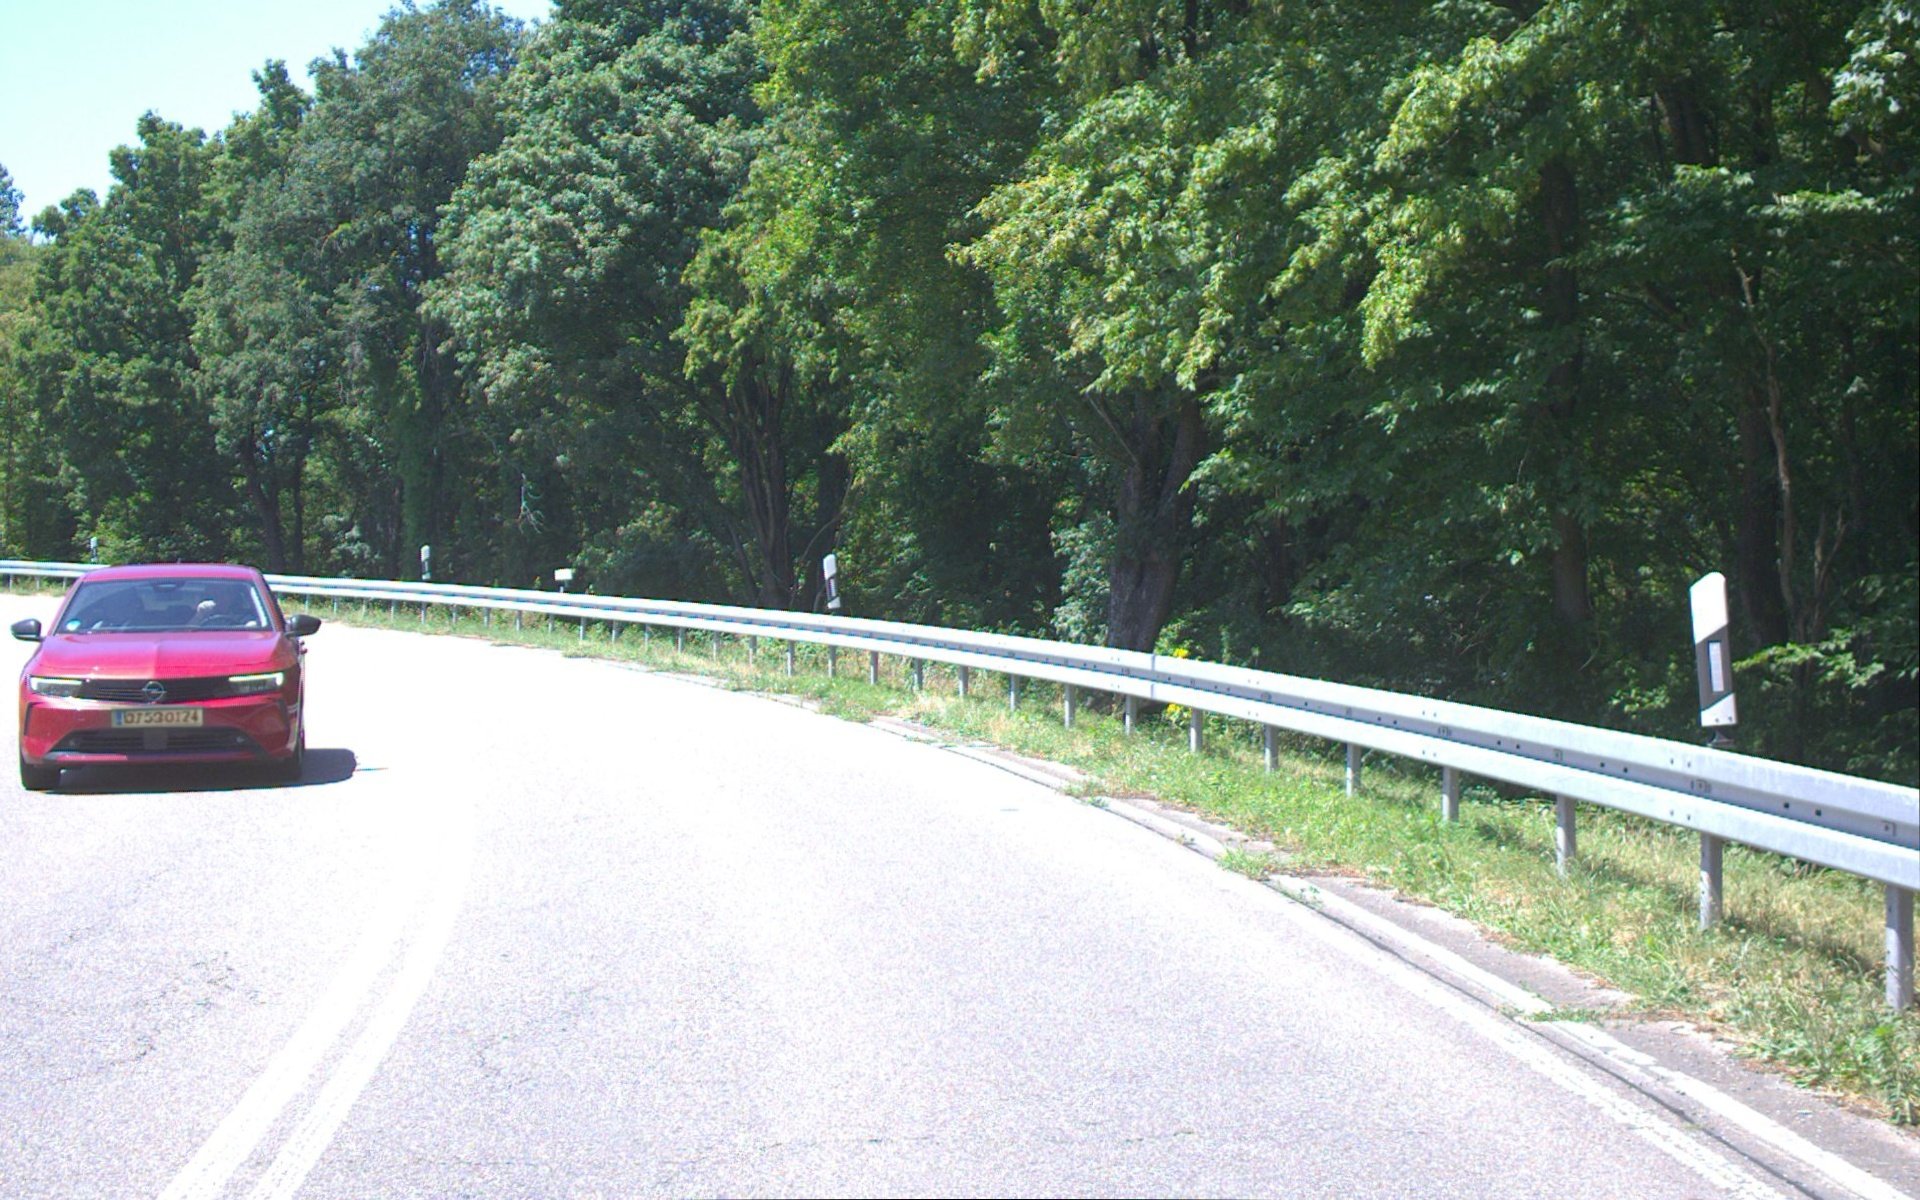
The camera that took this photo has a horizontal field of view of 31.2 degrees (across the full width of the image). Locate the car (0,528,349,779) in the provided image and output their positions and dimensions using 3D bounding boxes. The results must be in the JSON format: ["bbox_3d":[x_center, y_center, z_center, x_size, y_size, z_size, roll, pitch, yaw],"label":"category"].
[{"bbox_3d":[-5.296,0.352,23.591,1.822,1.453,4.401,-3,0,-7],"label":"car"}]
